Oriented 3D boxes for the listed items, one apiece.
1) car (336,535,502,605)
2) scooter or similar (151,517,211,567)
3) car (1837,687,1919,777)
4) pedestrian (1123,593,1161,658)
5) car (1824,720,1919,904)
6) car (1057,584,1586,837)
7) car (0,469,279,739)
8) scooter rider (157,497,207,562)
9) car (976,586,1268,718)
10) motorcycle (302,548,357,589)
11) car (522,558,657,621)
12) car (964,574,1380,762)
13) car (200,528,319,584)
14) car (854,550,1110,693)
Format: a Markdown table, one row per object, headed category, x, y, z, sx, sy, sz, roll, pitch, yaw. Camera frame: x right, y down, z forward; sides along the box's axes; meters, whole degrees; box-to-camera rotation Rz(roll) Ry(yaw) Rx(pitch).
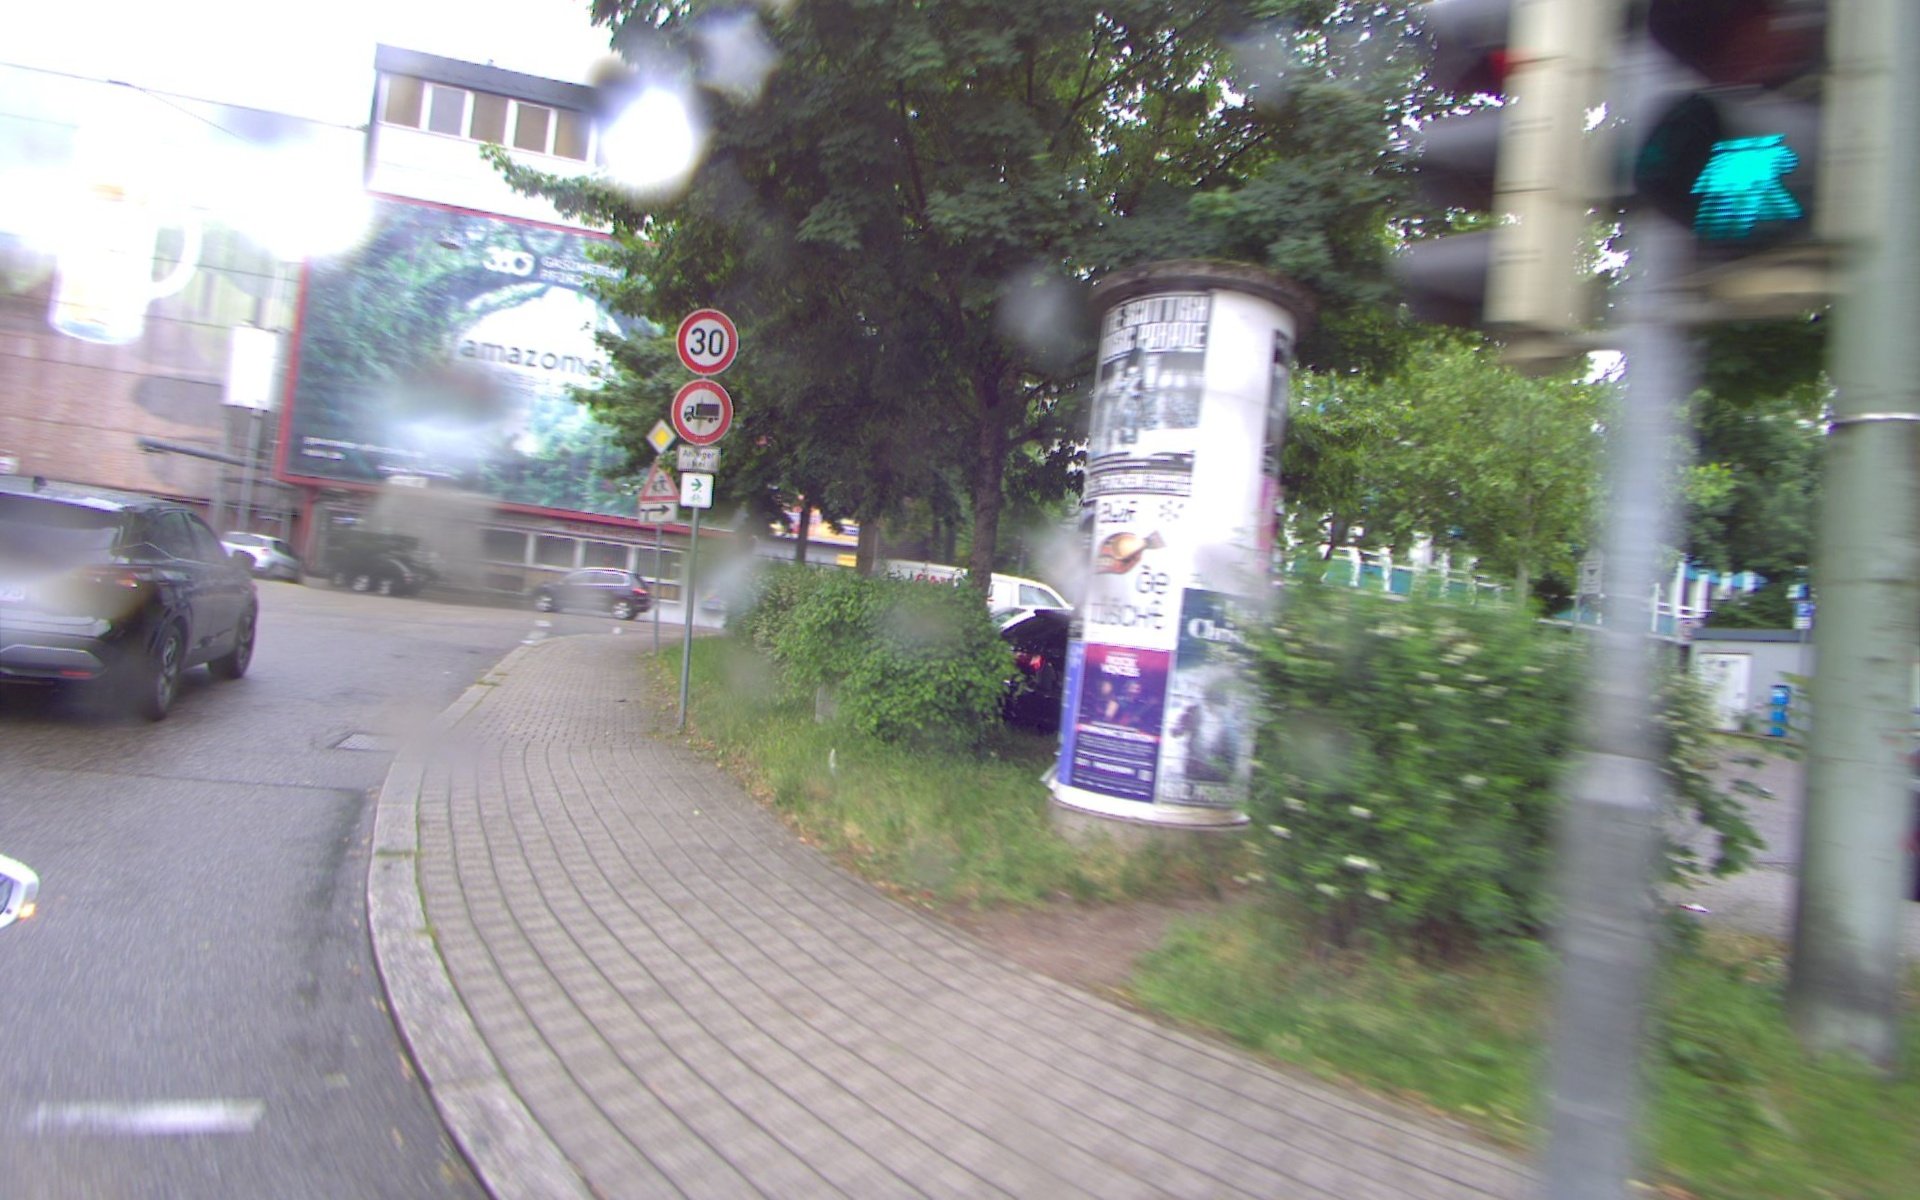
| category | x | y | z | sx | sy | sz | roll | pitch | yaw |
| --- | --- | --- | --- | --- | --- | --- | --- | --- | --- |
| car | -18.185 | -0.971 | 34.023 | 4.416 | 1.731 | 1.930 | 7 | -2 | -10 |
| scooter or similar | -23.626 | -1.747 | 30.512 | 1.383 | 1.339 | 0.804 | 6 | 1 | 23 |
| car | 20.659 | 2.866 | 20.962 | 3.942 | 1.630 | 1.792 | 6 | 0 | -19 |
| pedestrian | 5.004 | 0.698 | 27.661 | 0.707 | 1.725 | 0.674 | 4 | 1 | -8 |
| car | 8.870 | 1.867 | 7.189 | 1.613 | 1.382 | 3.687 | 7 | -1 | -19 |
| car | 3.141 | 0.965 | 8.725 | 4.155 | 1.642 | 1.628 | 7 | 1 | -22 |
| car | -6.903 | -0.081 | 7.924 | 1.865 | 1.612 | 3.896 | 8 | -1 | -26 |
| scooter rider | -23.579 | -2.131 | 30.507 | 0.767 | 1.844 | 0.804 | 6 | 1 | 23 |
| car | 2.535 | 0.817 | 15.764 | 4.155 | 1.501 | 1.628 | 7 | 1 | -22 |
| motorcycle | -21.378 | -1.061 | 34.132 | 1.404 | 1.174 | 0.450 | 7 | -2 | -23 |
| car | -12.690 | -0.341 | 34.659 | 3.932 | 1.733 | 1.929 | 6 | 0 | -10 |
| car | 2.335 | 0.753 | 11.074 | 4.155 | 1.501 | 1.628 | 7 | 1 | -22 |
| car | -23.871 | -1.466 | 34.469 | 1.845 | 1.552 | 3.981 | 7 | 0 | -13 |
| car | 0.346 | 0.371 | 18.088 | 4.143 | 1.985 | 1.632 | 7 | 1 | -12 |
